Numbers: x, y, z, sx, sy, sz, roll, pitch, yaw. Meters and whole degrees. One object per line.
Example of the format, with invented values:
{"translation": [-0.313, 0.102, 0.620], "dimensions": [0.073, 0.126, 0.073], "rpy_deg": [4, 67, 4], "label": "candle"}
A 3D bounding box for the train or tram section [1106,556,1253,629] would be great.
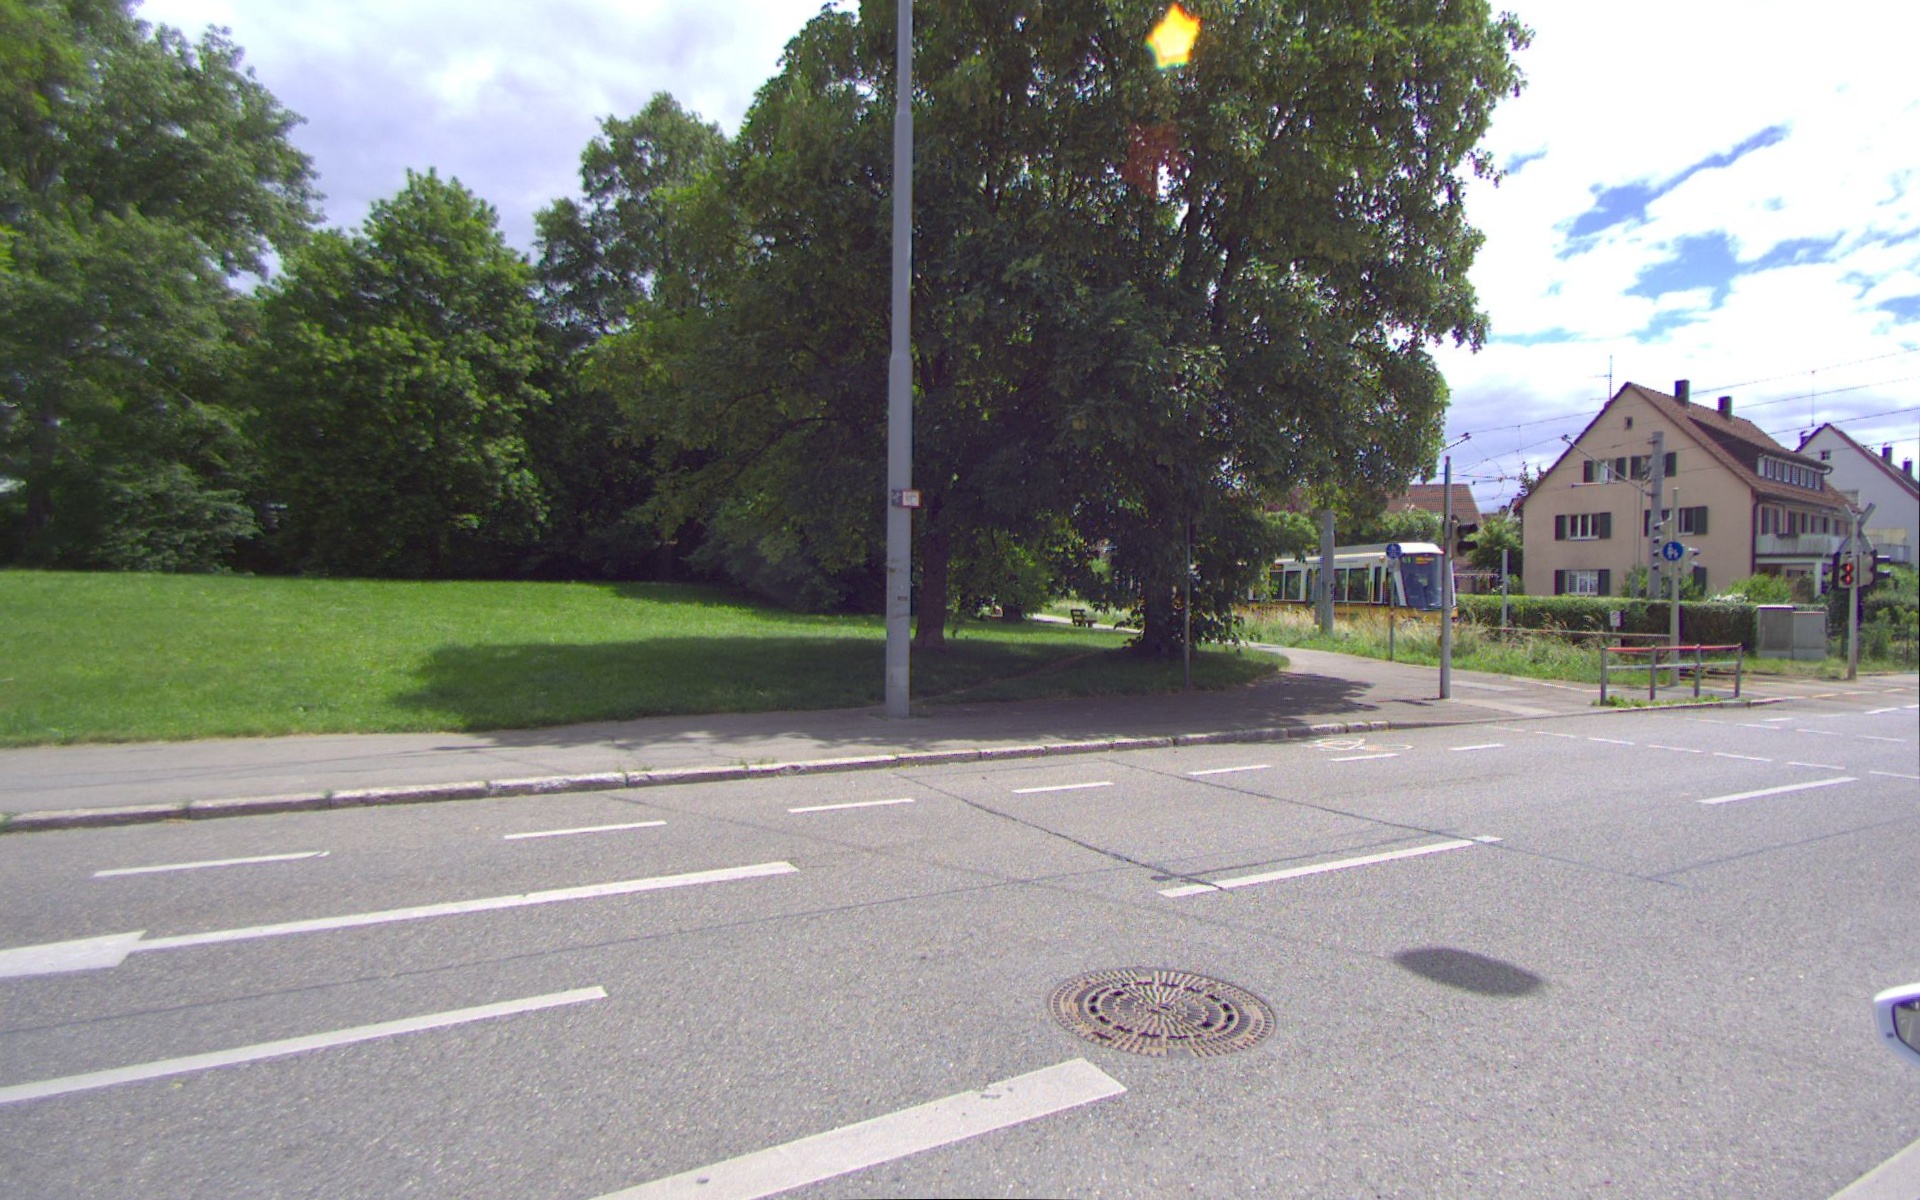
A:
{"translation": [12.863, -0.487, 62.011], "dimensions": [2.864, 3.754, 19.098], "rpy_deg": [1, 1, -6], "label": "train or tram section"}

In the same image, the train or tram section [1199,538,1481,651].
{"translation": [14.992, -0.274, 43.059], "dimensions": [2.864, 3.754, 19.098], "rpy_deg": [1, 1, -6], "label": "train or tram section"}
